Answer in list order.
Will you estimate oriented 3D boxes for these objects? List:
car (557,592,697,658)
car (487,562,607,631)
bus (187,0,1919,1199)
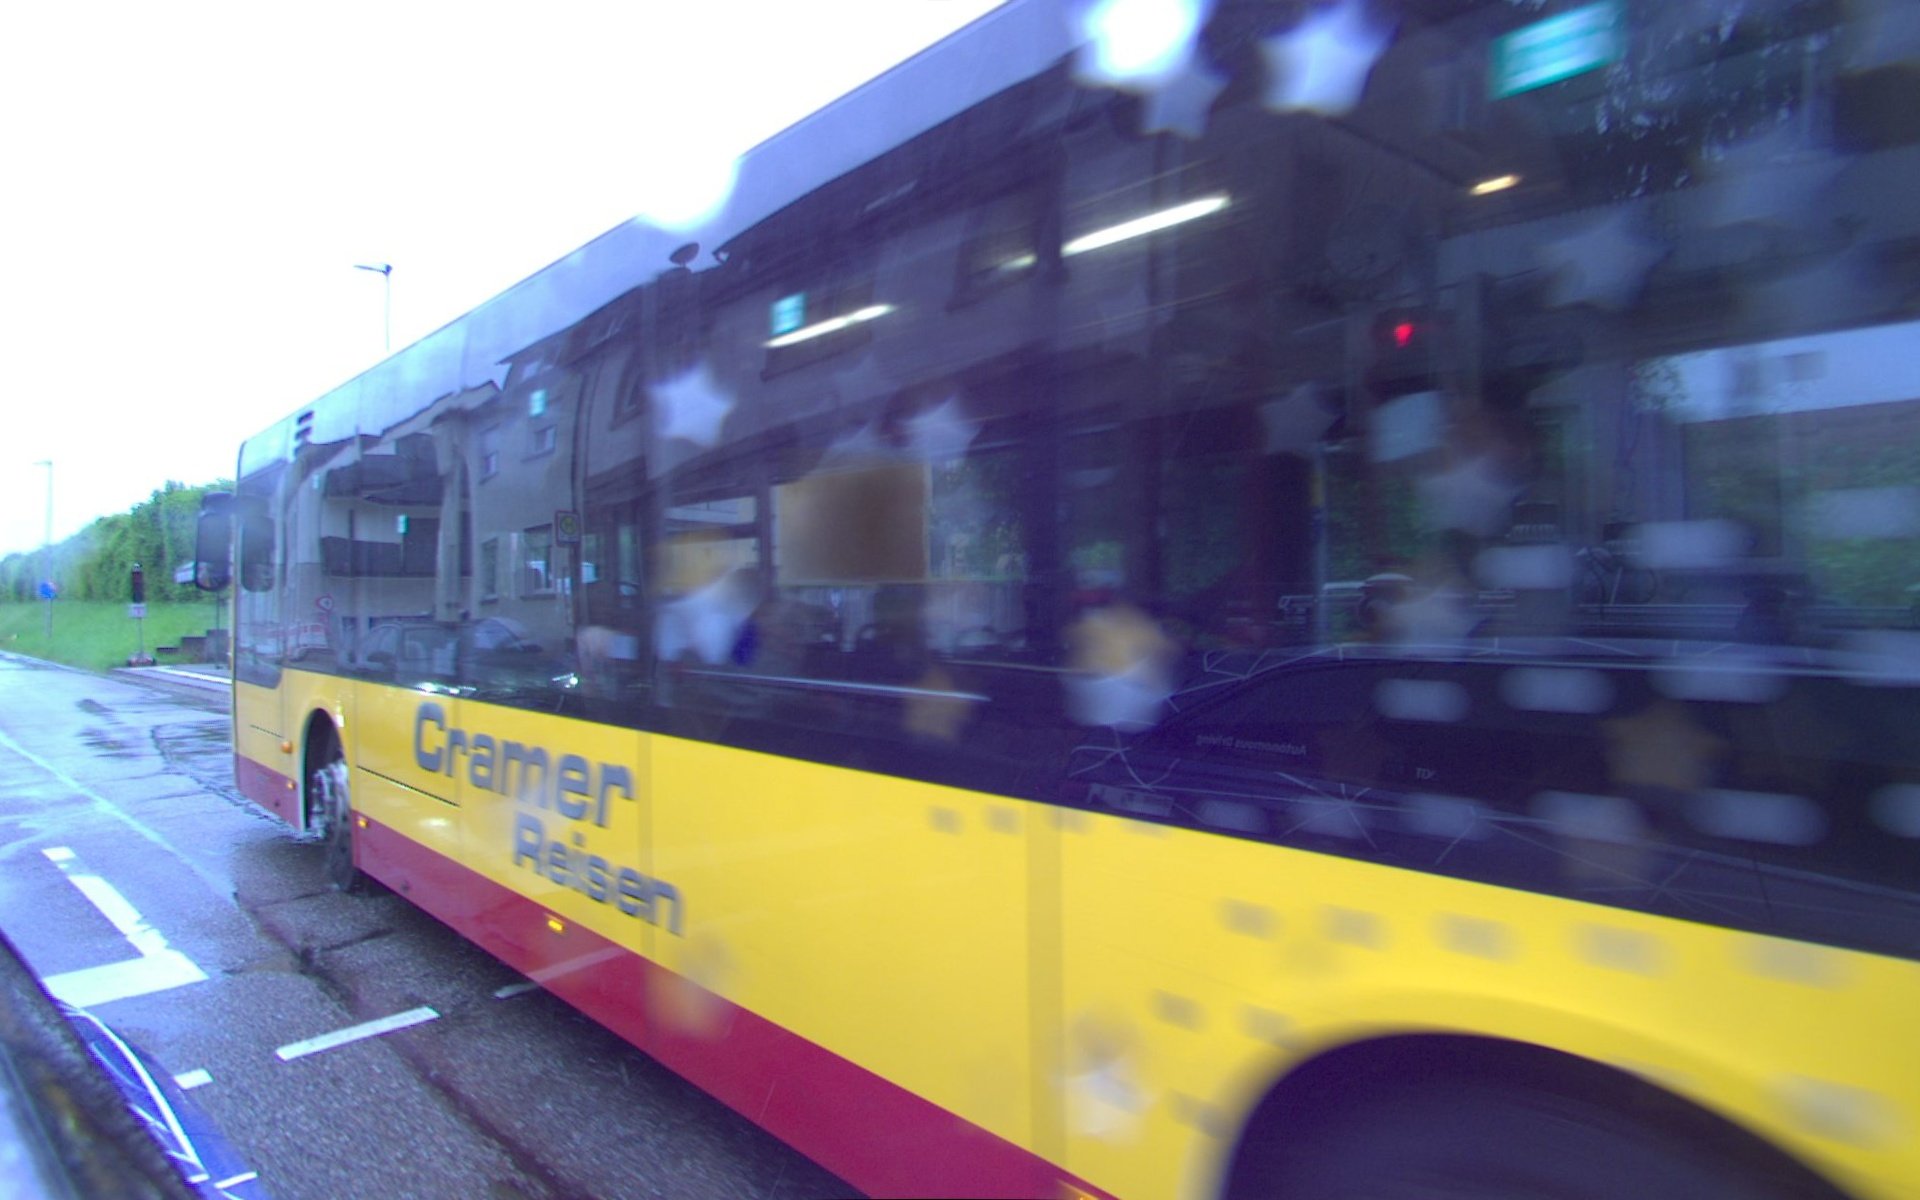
[{"bbox_3d":[-9.474,0.645,28.655,4.187,1.728,1.972,0,0,42],"label":"car"},{"bbox_3d":[-13.469,-0.116,32.901,4.187,2.078,1.972,0,0,42],"label":"car"},{"bbox_3d":[-0.317,-0.071,3.986,2.774,2.961,11.947,-1,0,-45],"label":"bus"}]
